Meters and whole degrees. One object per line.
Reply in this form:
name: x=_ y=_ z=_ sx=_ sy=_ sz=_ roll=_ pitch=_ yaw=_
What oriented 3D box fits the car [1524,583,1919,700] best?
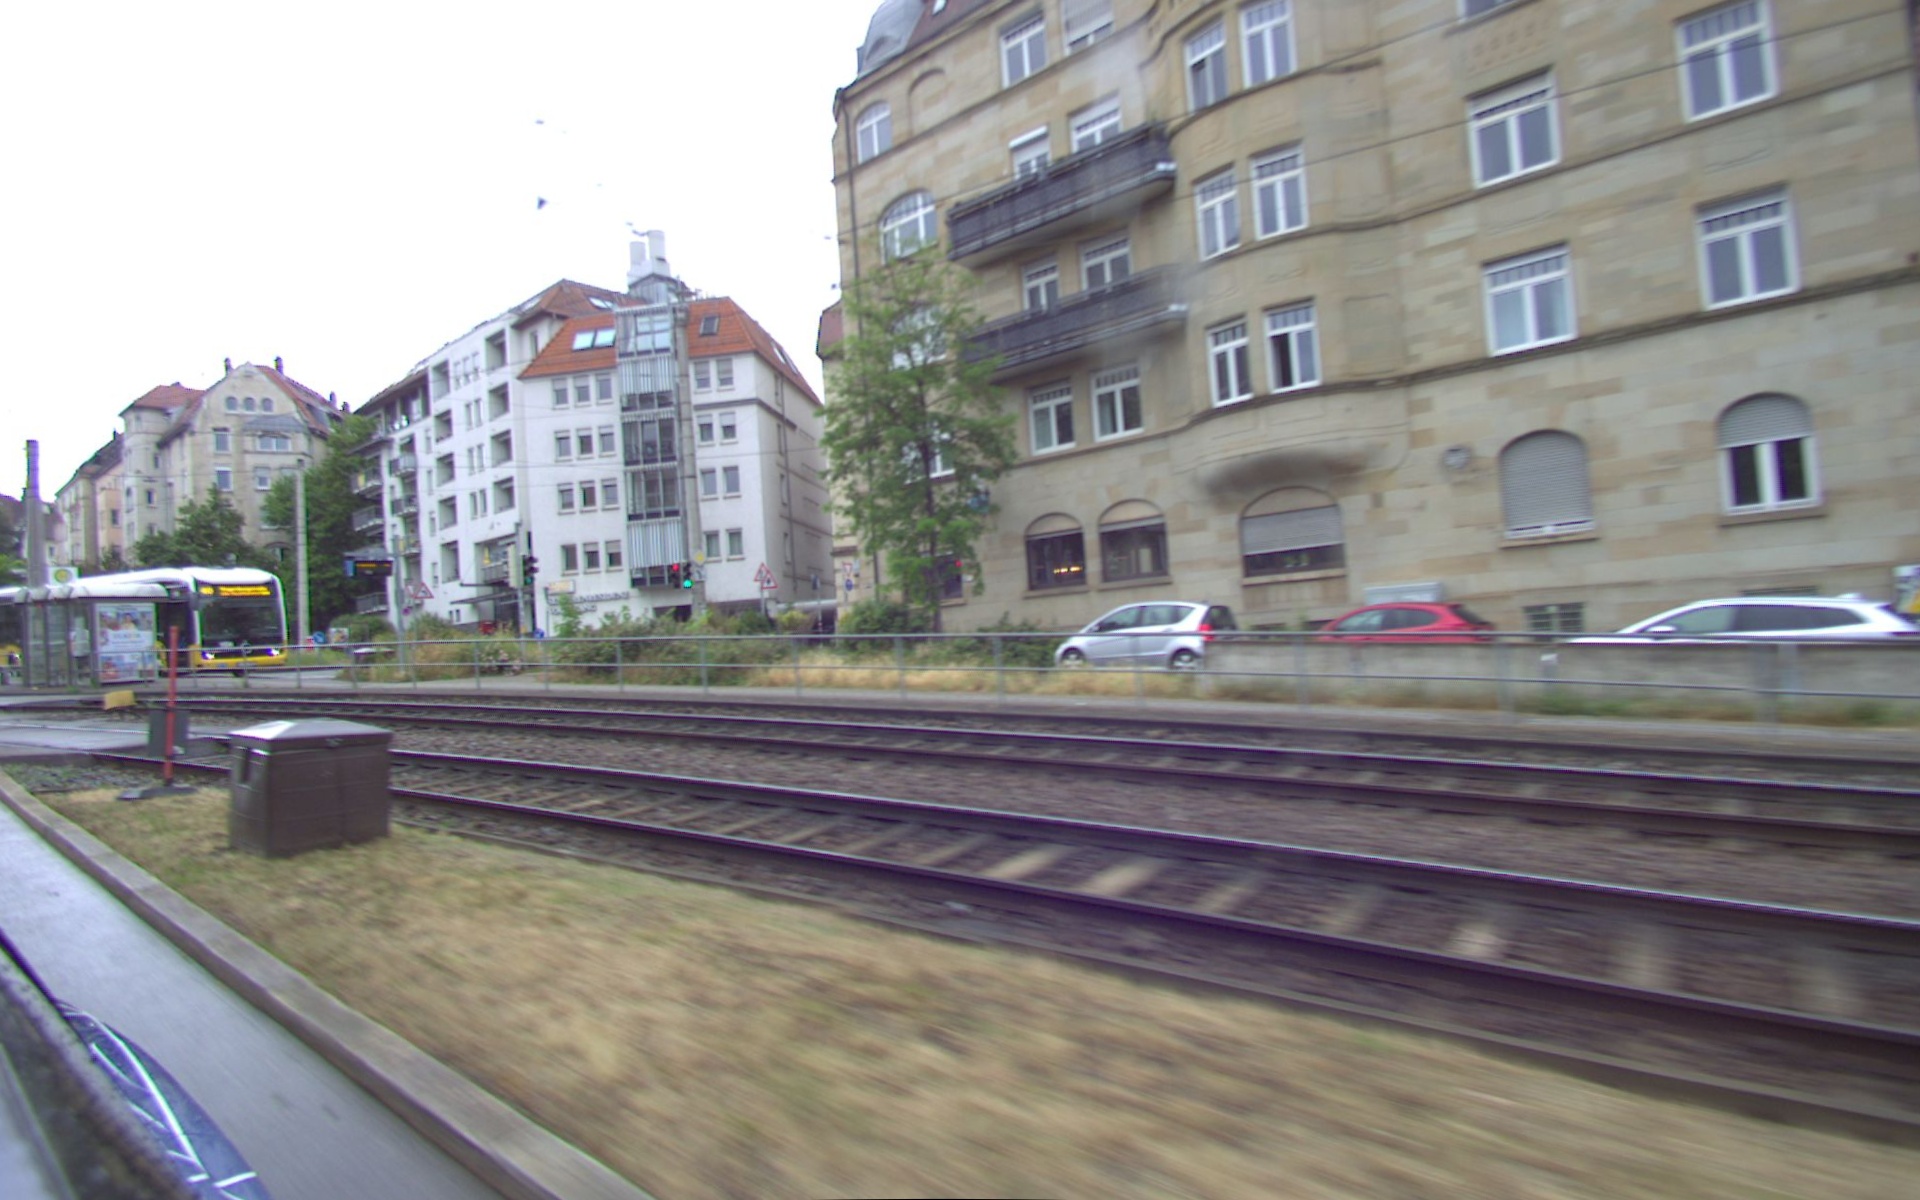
car: x=10.928 y=0.577 z=14.364 sx=4.863 sy=1.453 sz=1.700 roll=-2 pitch=-2 yaw=39

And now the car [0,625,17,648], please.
car: x=-85.284 y=3.269 z=89.749 sx=3.997 sy=2.029 sz=1.973 roll=-2 pitch=-2 yaw=40

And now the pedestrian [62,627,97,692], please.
pedestrian: x=-24.299 y=1.638 z=27.926 sx=0.541 sy=1.765 sz=0.572 roll=-2 pitch=-2 yaw=29

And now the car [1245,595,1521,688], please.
car: x=7.323 y=0.716 z=17.765 sx=4.171 sy=1.453 sz=1.614 roll=-2 pitch=-2 yaw=40

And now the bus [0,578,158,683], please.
bus: x=-32.840 y=1.160 z=37.023 sx=9.076 sy=3.495 sz=2.571 roll=-2 pitch=-2 yaw=32

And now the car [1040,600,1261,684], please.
car: x=3.810 y=0.840 z=20.677 sx=4.171 sy=1.559 sz=1.614 roll=-2 pitch=-2 yaw=40
